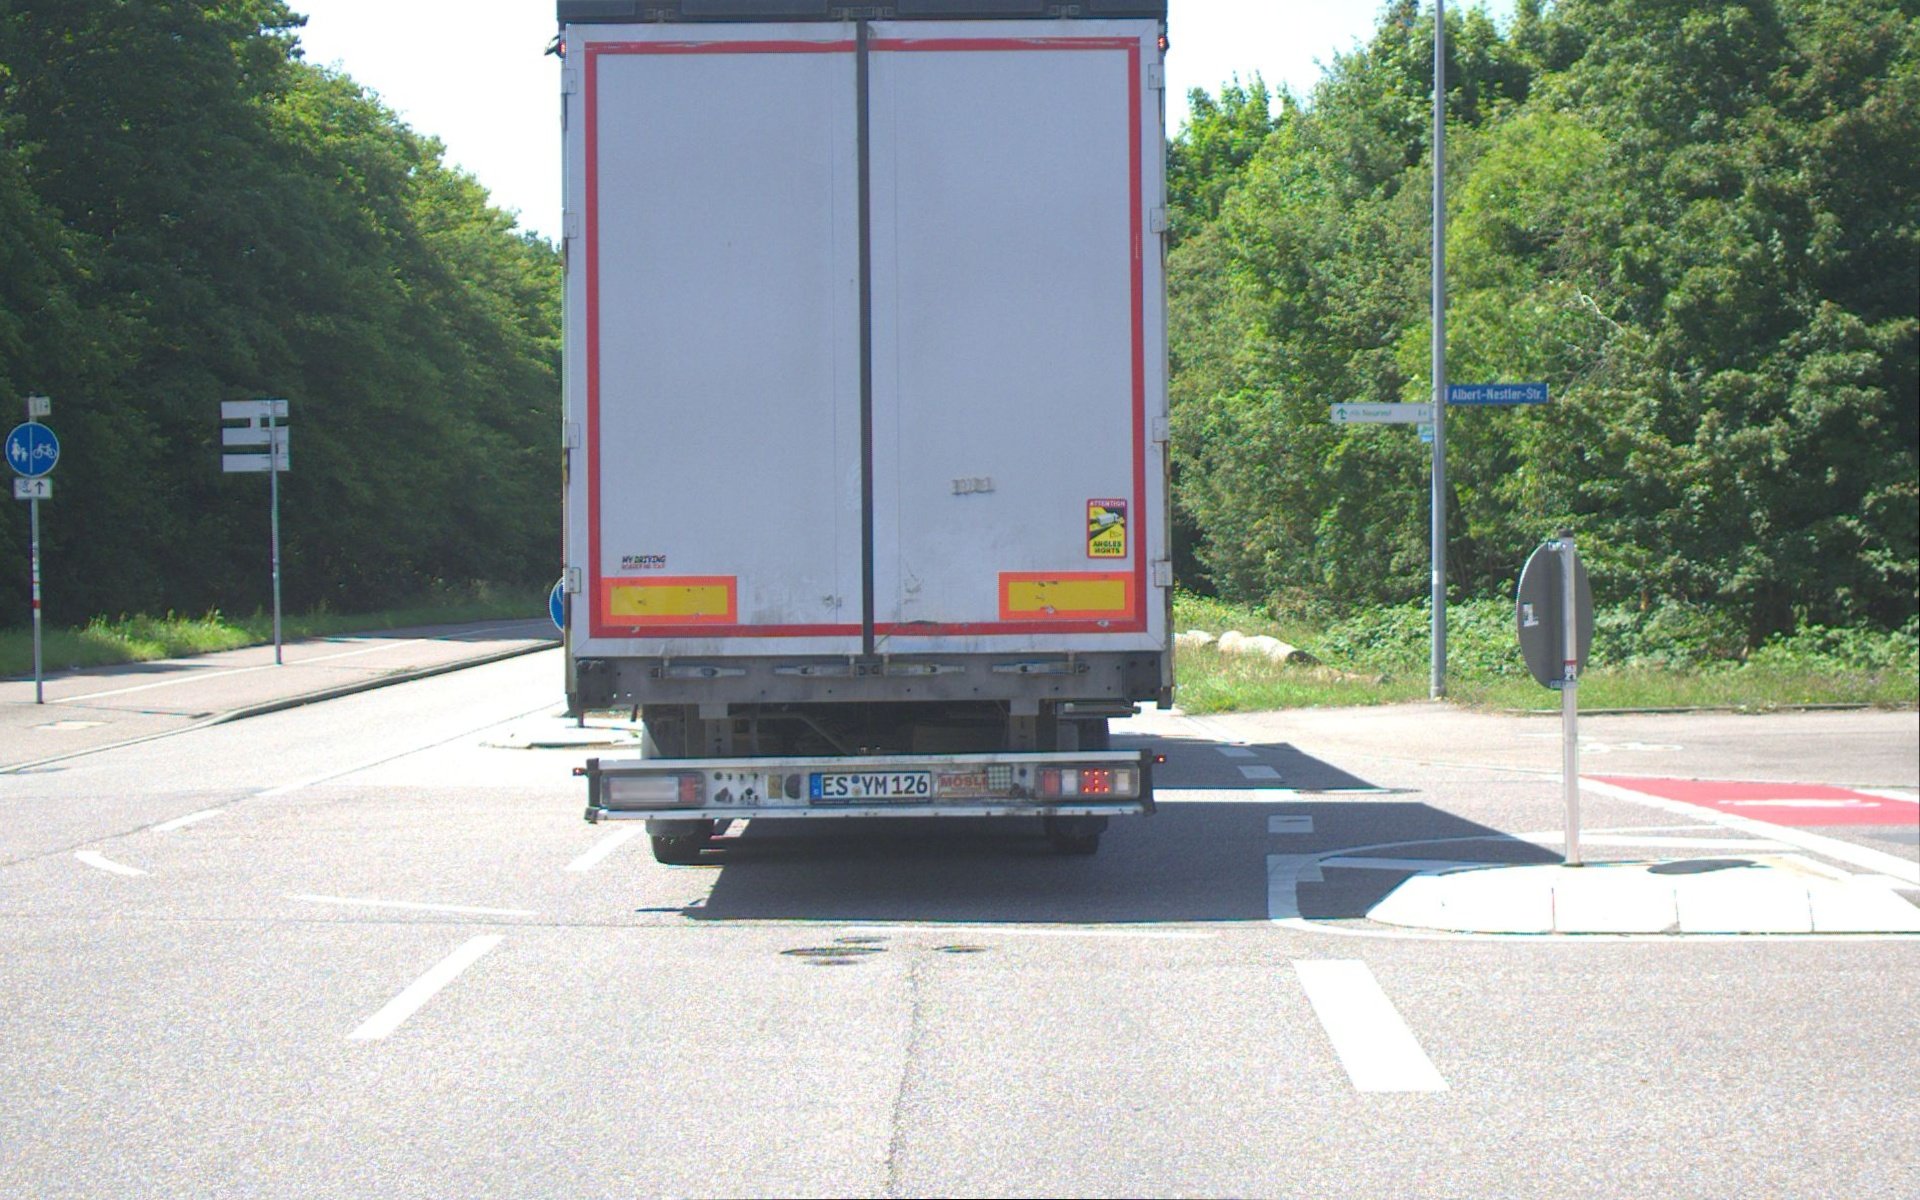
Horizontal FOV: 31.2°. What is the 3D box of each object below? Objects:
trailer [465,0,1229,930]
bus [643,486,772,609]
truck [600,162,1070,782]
[{"bbox_3d":[-0.647,-0.773,18.789,3.077,4.056,9.810,0,1,-2],"label":"trailer"},{"bbox_3d":[-6.837,-1.434,94.649,2.749,3.035,11.939,-3,1,-1],"label":"bus"},{"bbox_3d":[-0.976,-0.897,26.532,3.077,4.056,7.960,0,1,-2],"label":"truck"}]
